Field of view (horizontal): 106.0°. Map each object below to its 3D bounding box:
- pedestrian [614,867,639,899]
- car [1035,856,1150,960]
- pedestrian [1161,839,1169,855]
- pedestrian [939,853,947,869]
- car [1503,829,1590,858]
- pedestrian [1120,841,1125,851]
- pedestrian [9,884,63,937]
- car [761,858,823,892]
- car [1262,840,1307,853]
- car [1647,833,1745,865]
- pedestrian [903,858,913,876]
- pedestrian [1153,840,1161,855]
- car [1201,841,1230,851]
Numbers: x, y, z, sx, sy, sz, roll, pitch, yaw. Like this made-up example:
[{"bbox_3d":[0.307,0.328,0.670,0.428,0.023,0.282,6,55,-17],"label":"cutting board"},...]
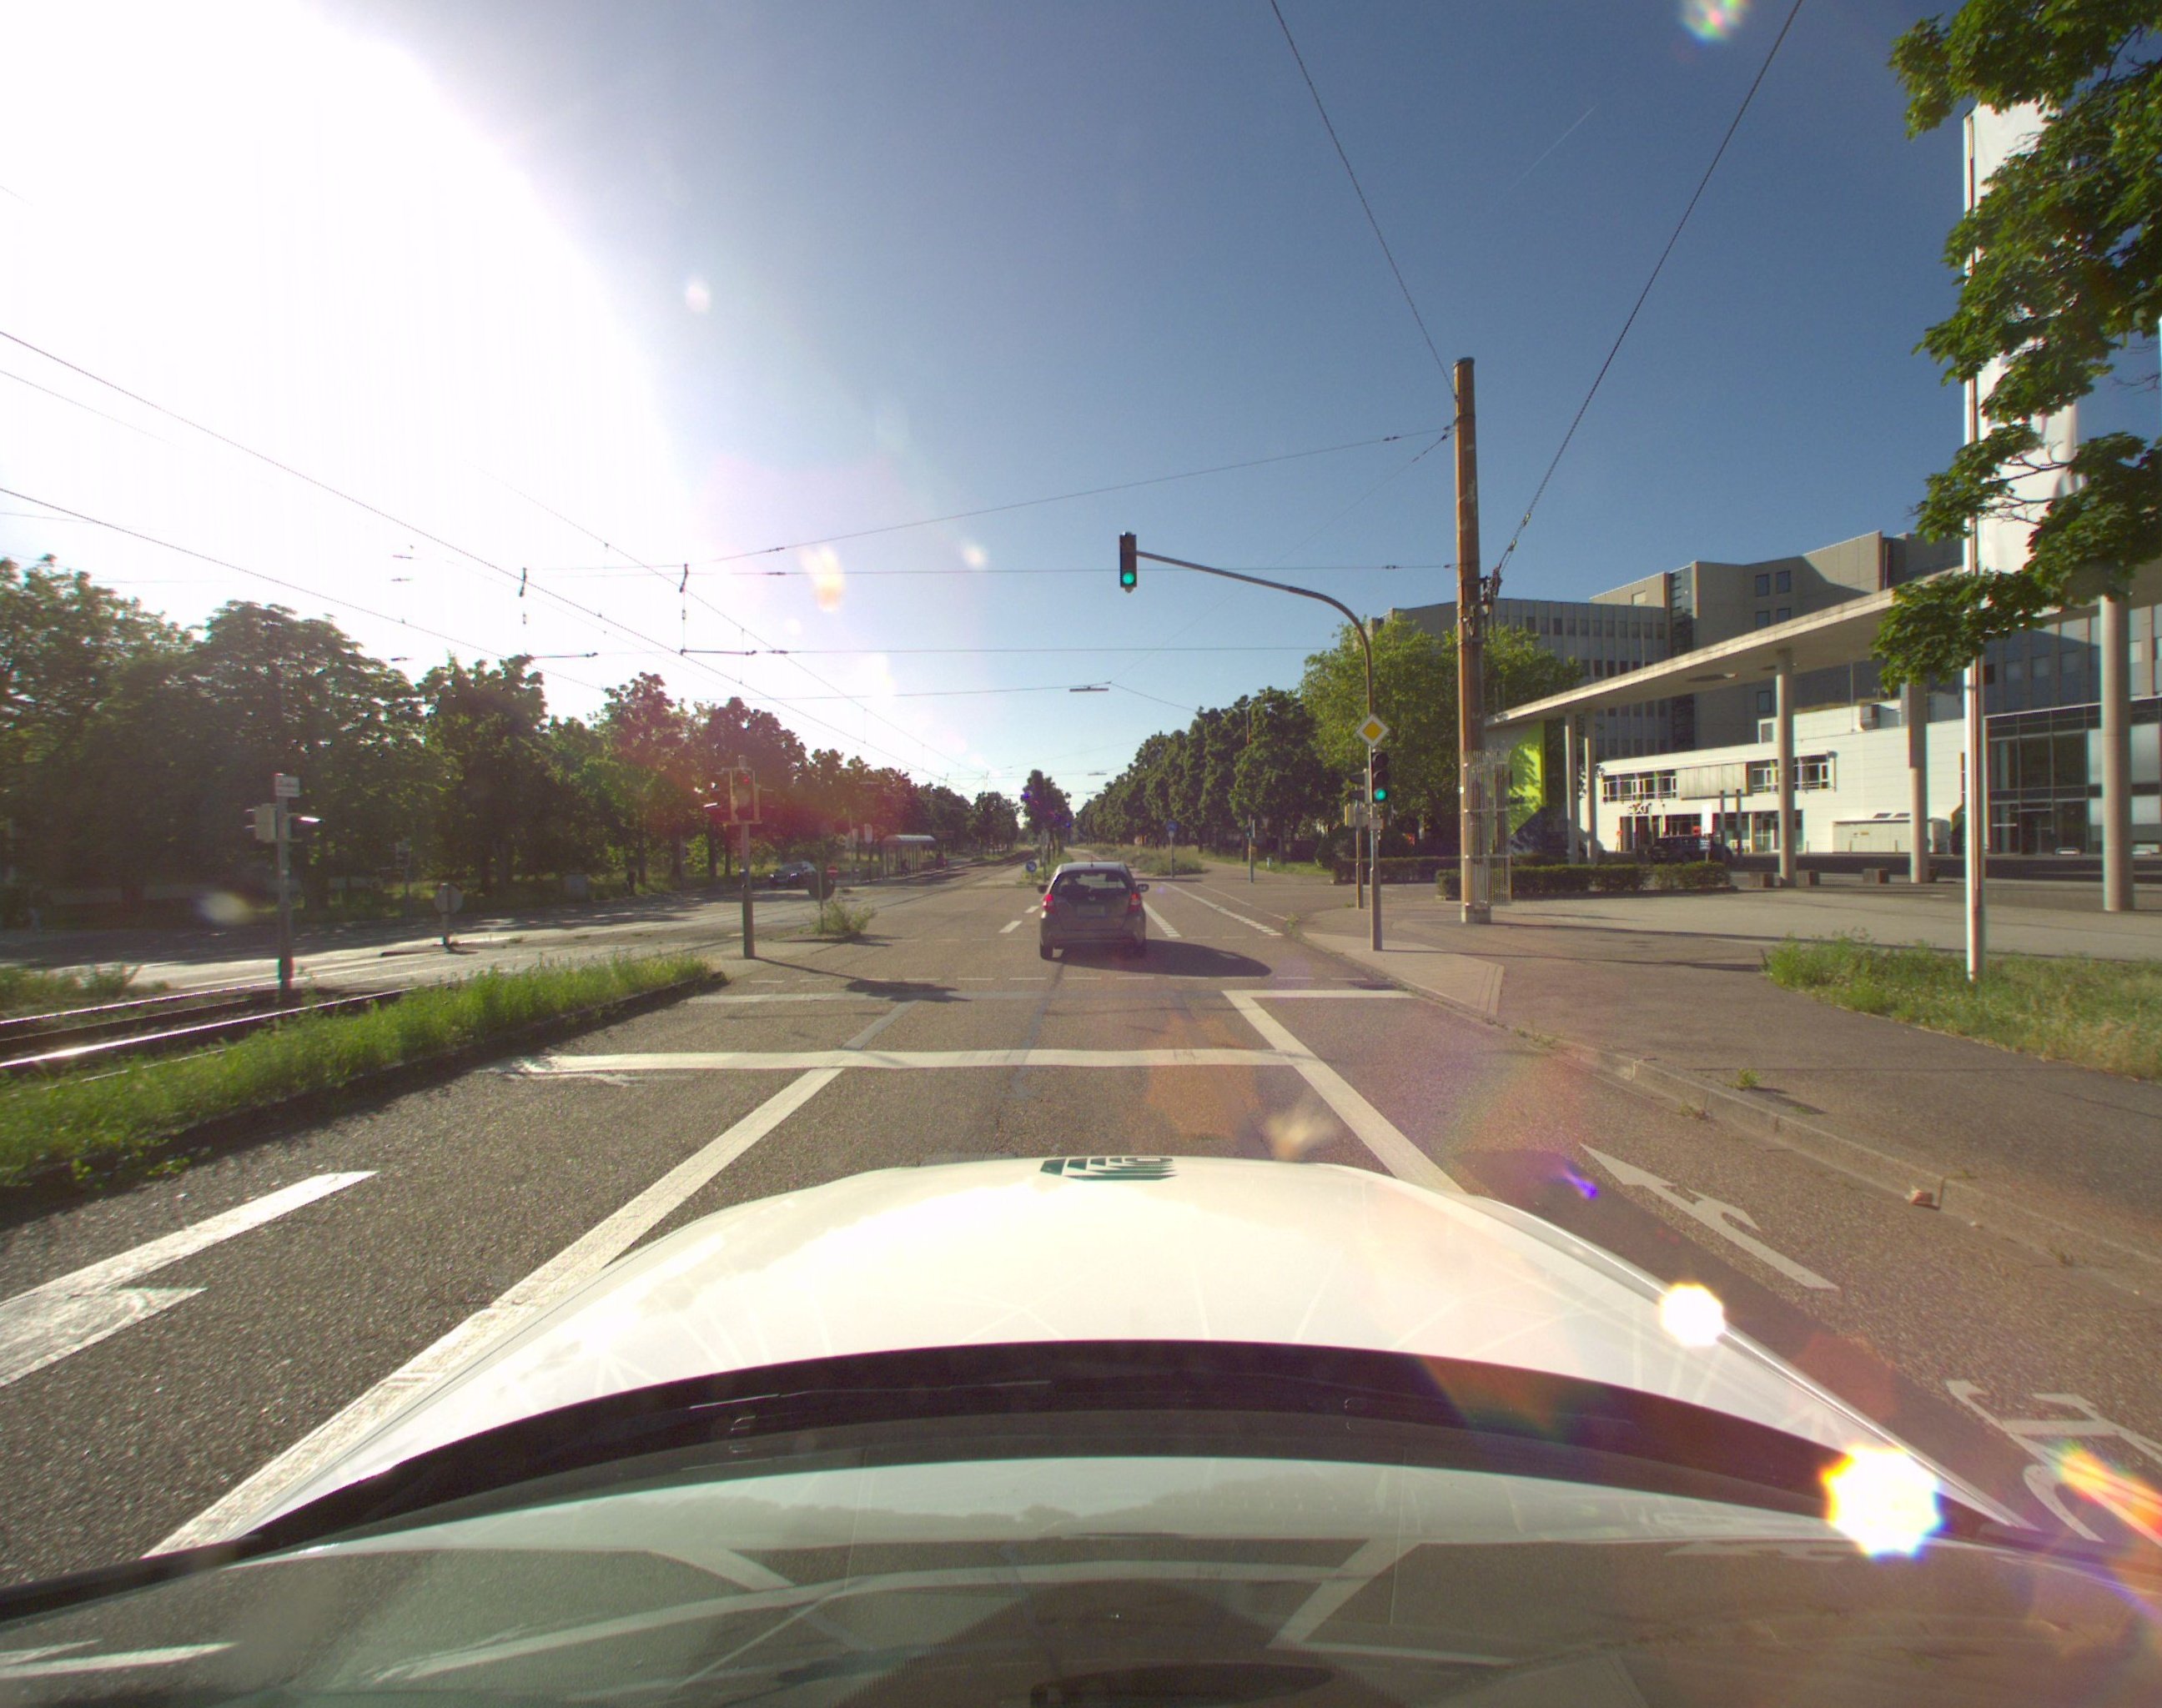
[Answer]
[{"bbox_3d":[-25.214,1.602,45.187,0.751,1.734,0.943,-2,0,30],"label":"pedestrian"},{"bbox_3d":[0.230,0.828,14.067,1.694,1.524,3.710,-1,-1,2],"label":"car"},{"bbox_3d":[10.479,-0.853,101.762,0.880,1.884,0.875,-2,0,-2],"label":"pedestrian"},{"bbox_3d":[-12.617,0.651,74.610,0.542,1.447,0.559,-3,0,1],"label":"pedestrian"},{"bbox_3d":[30.800,-0.658,53.911,4.888,1.757,2.082,-2,0,-14],"label":"car"},{"bbox_3d":[7.293,-1.429,142.080,0.723,1.690,0.820,-2,-1,-1],"label":"pedestrian"},{"bbox_3d":[-36.607,1.967,28.541,0.943,1.787,0.824,-2,0,15],"label":"pedestrian"},{"bbox_3d":[-18.115,1.251,51.308,2.087,1.810,4.792,-4,1,0],"label":"car"},{"bbox_3d":[23.595,-0.898,94.499,4.625,1.327,2.105,-2,1,36],"label":"car"},{"bbox_3d":[33.036,-0.272,43.784,3.984,1.578,1.949,-1,0,-8],"label":"car"},{"bbox_3d":[-12.763,0.952,60.039,0.562,1.257,0.581,-4,0,0],"label":"pedestrian"},{"bbox_3d":[9.460,-0.841,101.761,0.880,1.884,0.875,-2,0,-2],"label":"pedestrian"},{"bbox_3d":[22.819,-1.392,138.365,4.623,1.555,1.997,-2,0,-5],"label":"car"}]
